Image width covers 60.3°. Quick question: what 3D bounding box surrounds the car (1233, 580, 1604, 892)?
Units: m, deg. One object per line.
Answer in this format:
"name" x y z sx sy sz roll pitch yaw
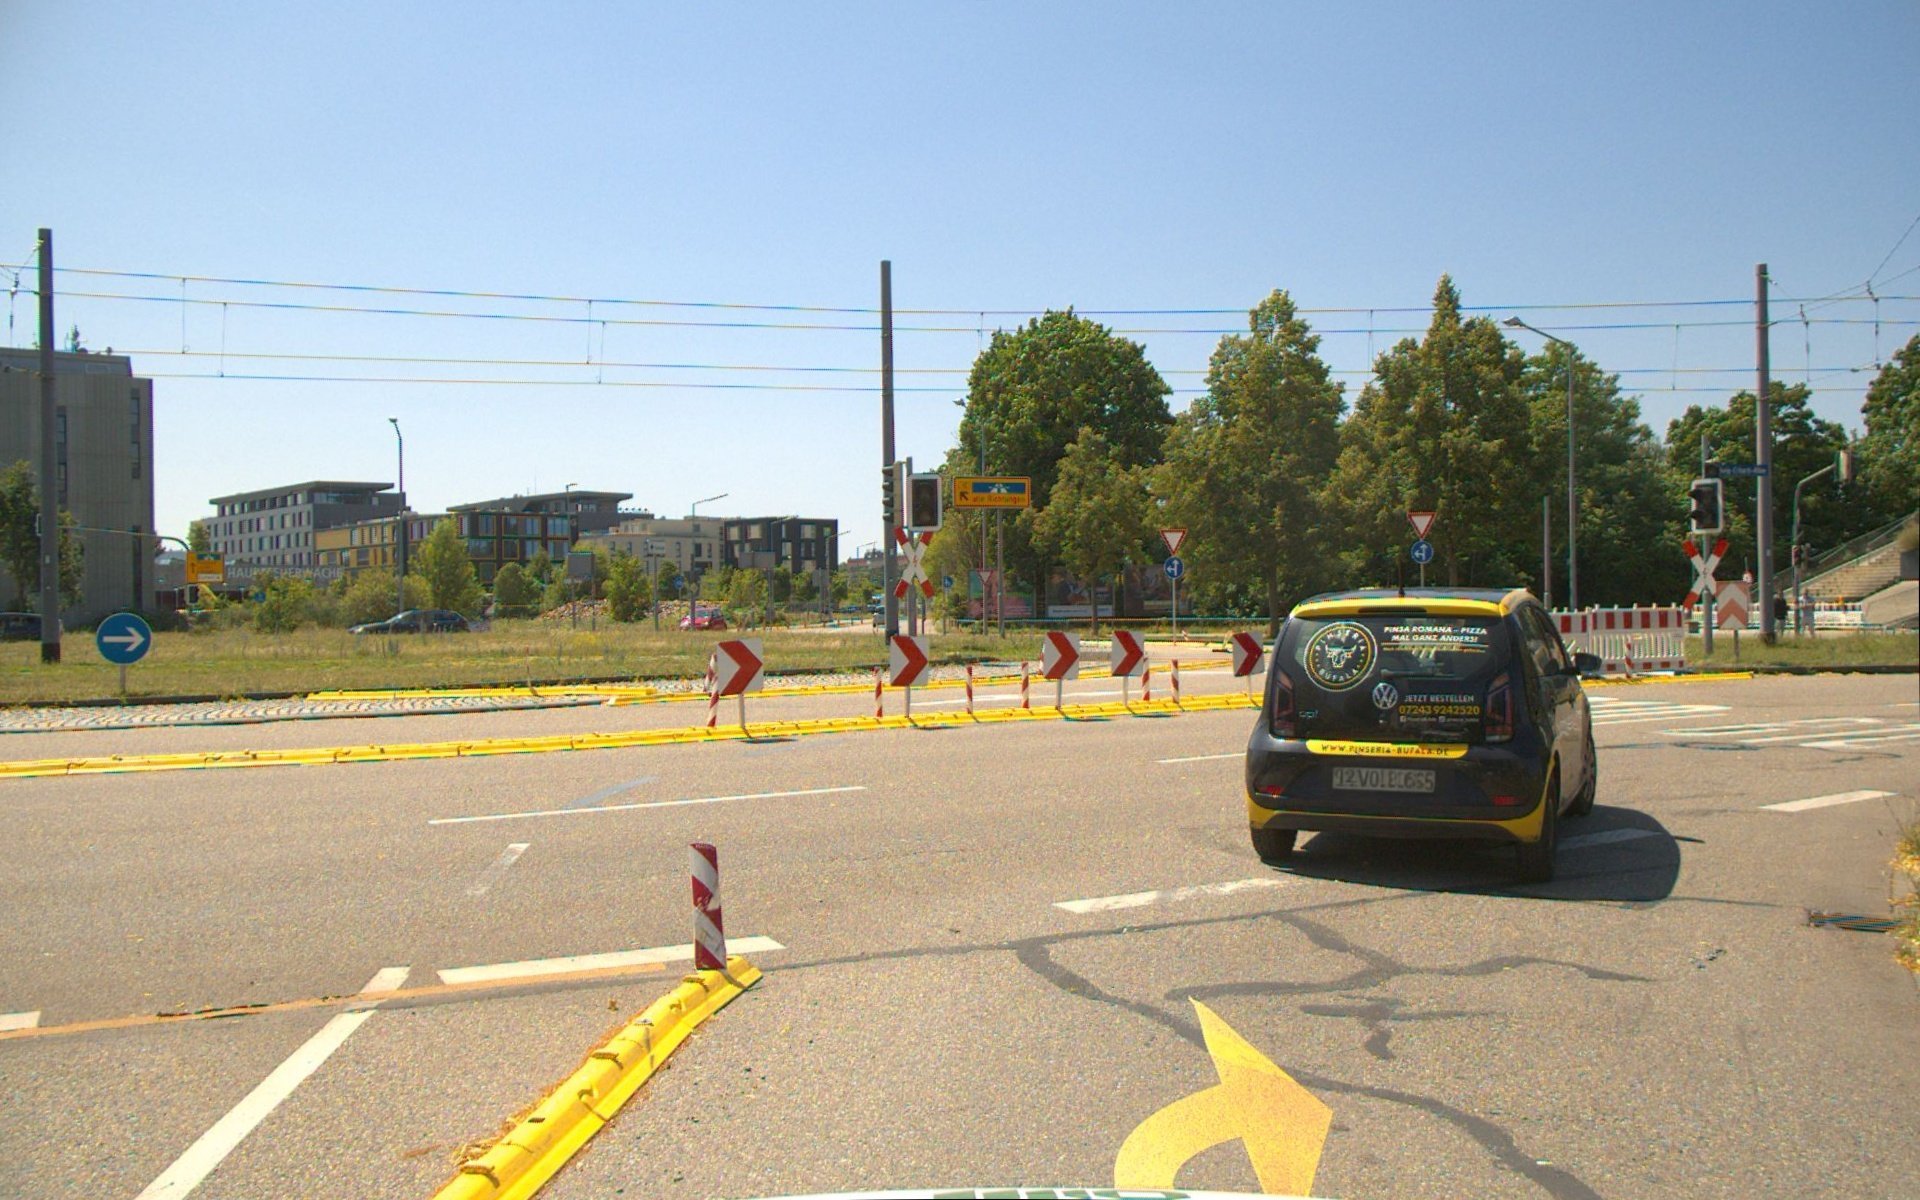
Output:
"car" 2.936 0.645 9.980 1.586 1.477 3.984 0 0 24

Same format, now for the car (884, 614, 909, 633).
"car" -4.817 1.785 125.392 1.623 1.396 3.033 -1 0 3

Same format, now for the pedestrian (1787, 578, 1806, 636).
"pedestrian" 26.082 0.218 51.579 0.438 1.769 0.291 -1 0 5

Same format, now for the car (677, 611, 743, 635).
"car" -12.516 1.160 82.936 1.464 1.108 3.516 -1 0 27

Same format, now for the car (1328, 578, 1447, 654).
"car" 9.289 0.321 36.230 1.951 1.512 4.370 -1 0 7

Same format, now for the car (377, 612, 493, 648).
"car" -22.005 1.233 69.355 4.413 1.342 1.983 -2 0 -26

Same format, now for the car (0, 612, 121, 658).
"car" -31.941 1.198 58.172 1.698 1.486 4.027 -1 0 40

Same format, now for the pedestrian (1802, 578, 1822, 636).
"pedestrian" 26.557 0.217 51.561 0.438 1.769 0.318 -1 0 5

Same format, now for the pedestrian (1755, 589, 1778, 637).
"pedestrian" 24.853 0.404 50.963 0.509 1.454 0.352 -1 0 3
